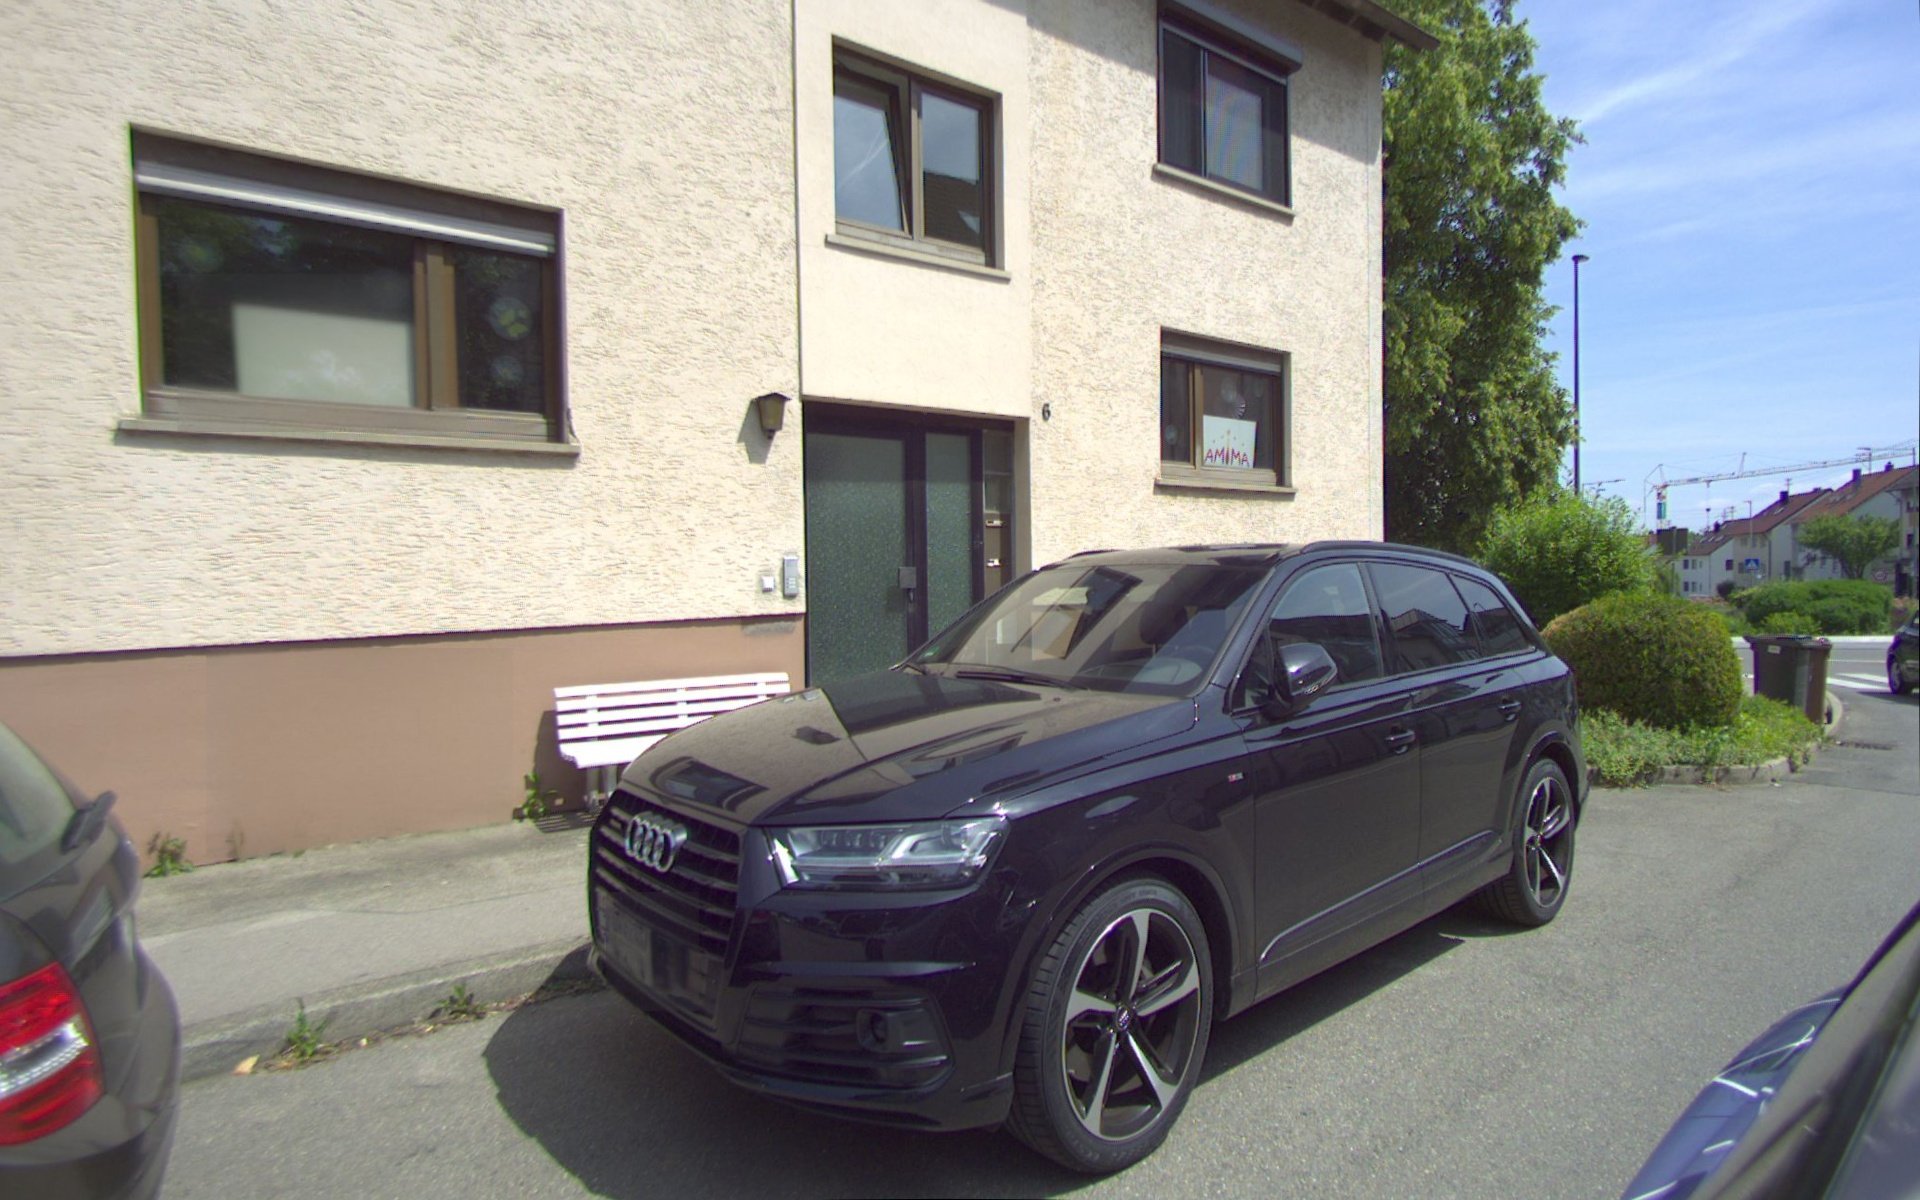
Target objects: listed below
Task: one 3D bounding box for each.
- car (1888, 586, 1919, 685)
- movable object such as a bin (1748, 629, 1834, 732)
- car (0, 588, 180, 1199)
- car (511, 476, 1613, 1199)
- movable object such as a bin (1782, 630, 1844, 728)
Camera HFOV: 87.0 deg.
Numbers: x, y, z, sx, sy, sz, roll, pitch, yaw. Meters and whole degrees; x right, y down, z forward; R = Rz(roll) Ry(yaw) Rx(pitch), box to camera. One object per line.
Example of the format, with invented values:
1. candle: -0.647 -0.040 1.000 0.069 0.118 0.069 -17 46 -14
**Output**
1. car: 14.838 0.540 14.174 1.711 1.475 4.384 -1 0 29
2. movable object such as a bin: 8.566 0.814 10.438 0.491 1.006 0.527 0 -1 -27
3. car: -3.369 0.707 0.809 4.281 1.438 1.792 0 1 -41
4. car: 0.844 0.577 4.138 4.574 1.691 1.846 -1 0 -41
5. movable object such as a bin: 9.254 0.842 10.980 0.499 1.006 0.496 -1 0 41
